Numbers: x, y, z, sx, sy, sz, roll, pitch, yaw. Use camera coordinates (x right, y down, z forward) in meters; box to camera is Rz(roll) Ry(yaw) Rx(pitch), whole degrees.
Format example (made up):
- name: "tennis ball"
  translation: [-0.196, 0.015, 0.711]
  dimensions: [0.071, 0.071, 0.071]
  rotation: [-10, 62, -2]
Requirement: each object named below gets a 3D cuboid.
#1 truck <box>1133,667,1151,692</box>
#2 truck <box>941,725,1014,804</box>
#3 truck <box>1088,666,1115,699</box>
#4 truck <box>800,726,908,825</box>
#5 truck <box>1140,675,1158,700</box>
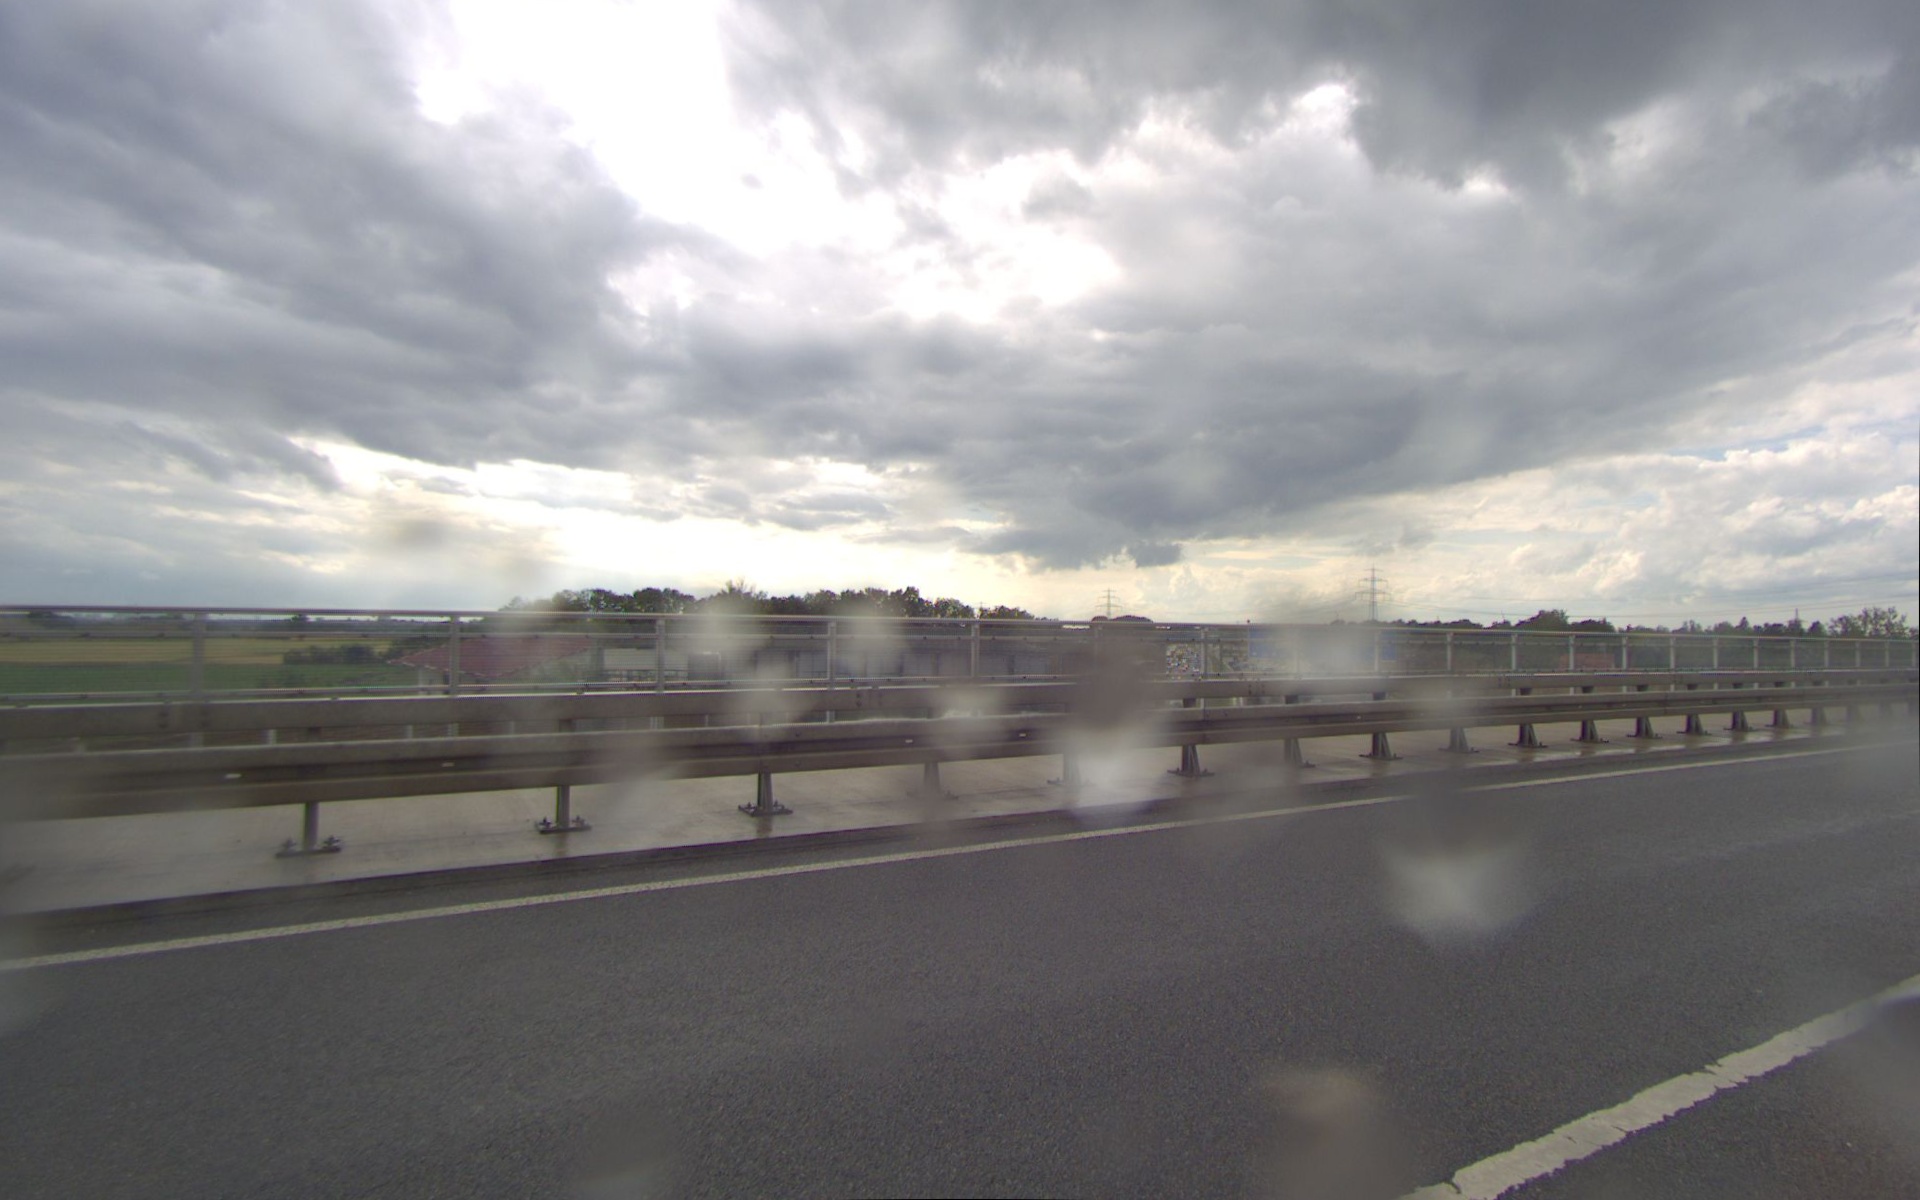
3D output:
- name: "truck"
  translation: [37.424, 16.290, 206.038]
  dimensions: [2.388, 4.249, 11.174]
  rotation: [2, 0, 16]
- name: "truck"
  translation: [1.471, 11.831, 73.630]
  dimensions: [2.388, 4.054, 11.174]
  rotation: [2, 0, 16]
- name: "truck"
  translation: [20.332, 11.779, 144.136]
  dimensions: [2.388, 3.812, 11.175]
  rotation: [2, 0, 15]
- name: "truck"
  translation: [-6.154, 10.317, 60.763]
  dimensions: [2.388, 4.054, 11.174]
  rotation: [2, 0, 16]
- name: "truck"
  translation: [35.863, 16.515, 190.358]
  dimensions: [2.388, 3.812, 11.174]
  rotation: [2, 0, 16]
